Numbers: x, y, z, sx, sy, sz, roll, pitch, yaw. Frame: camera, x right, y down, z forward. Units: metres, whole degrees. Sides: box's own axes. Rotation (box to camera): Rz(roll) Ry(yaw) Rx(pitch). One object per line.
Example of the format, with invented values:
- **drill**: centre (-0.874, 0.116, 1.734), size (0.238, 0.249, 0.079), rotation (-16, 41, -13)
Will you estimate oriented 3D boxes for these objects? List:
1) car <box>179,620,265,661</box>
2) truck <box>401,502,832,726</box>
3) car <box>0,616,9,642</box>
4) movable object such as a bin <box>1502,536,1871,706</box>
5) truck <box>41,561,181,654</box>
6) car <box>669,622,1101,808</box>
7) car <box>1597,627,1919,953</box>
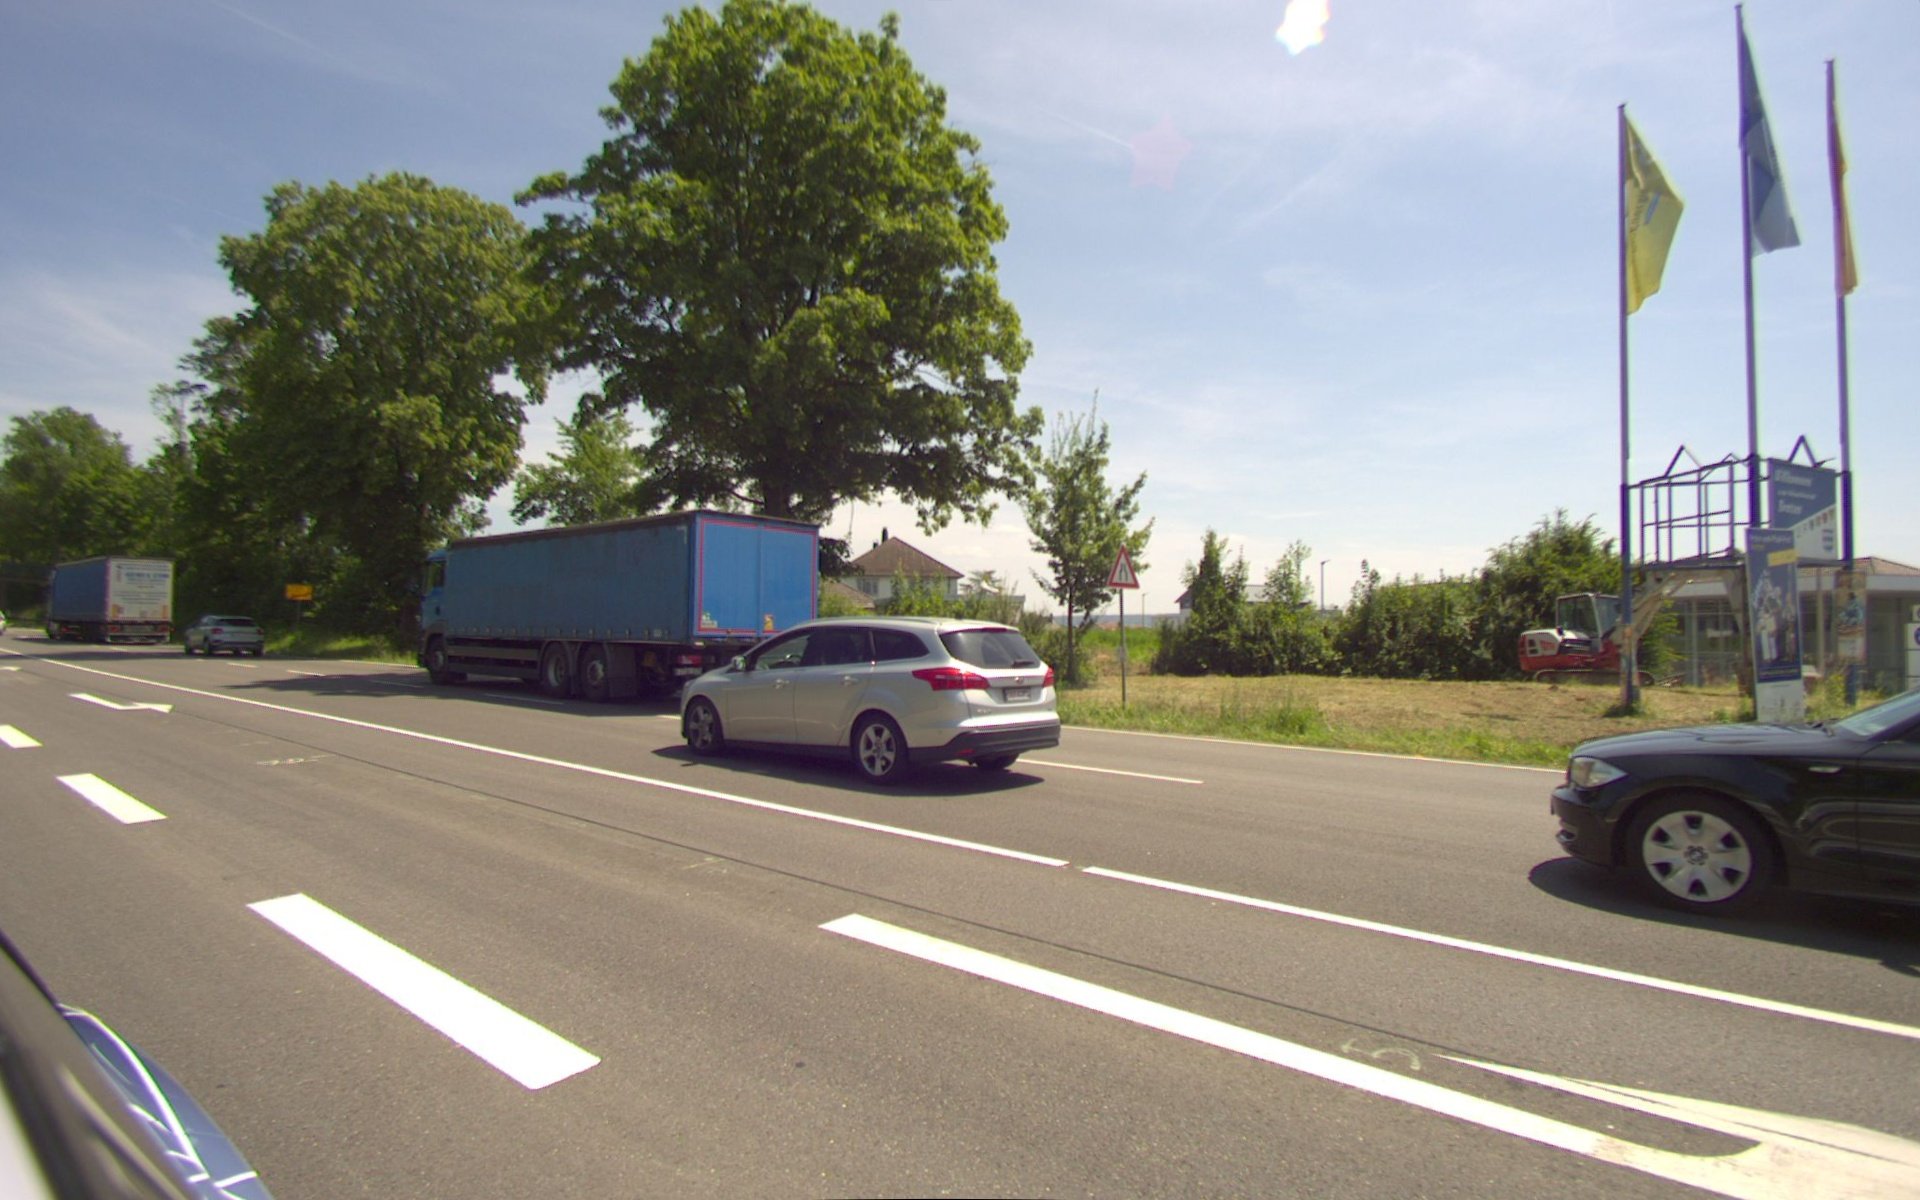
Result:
- **car**: centre (-27.839, 1.499, 38.118), size (4.178, 1.439, 1.742), rotation (-1, -3, 42)
- **truck**: centre (-7.422, 0.268, 20.149), size (11.478, 3.377, 2.816), rotation (-1, -2, 42)
- **car**: centre (-55.860, 1.660, 57.664), size (4.683, 1.492, 1.899), rotation (-2, -3, 40)
- **movable object such as a bin**: centre (16.194, 0.518, 23.392), size (3.004, 3.324, 6.803), rotation (1, -2, -8)
- **truck**: centre (-44.394, 0.432, 52.586), size (16.565, 4.208, 2.937), rotation (-1, -2, 41)
- **car**: centre (-0.889, 0.951, 9.977), size (4.261, 1.437, 1.770), rotation (-1, -2, 41)
- **car**: centre (5.335, 0.845, 4.507), size (4.015, 1.414, 1.644), rotation (-1, -3, 42)
